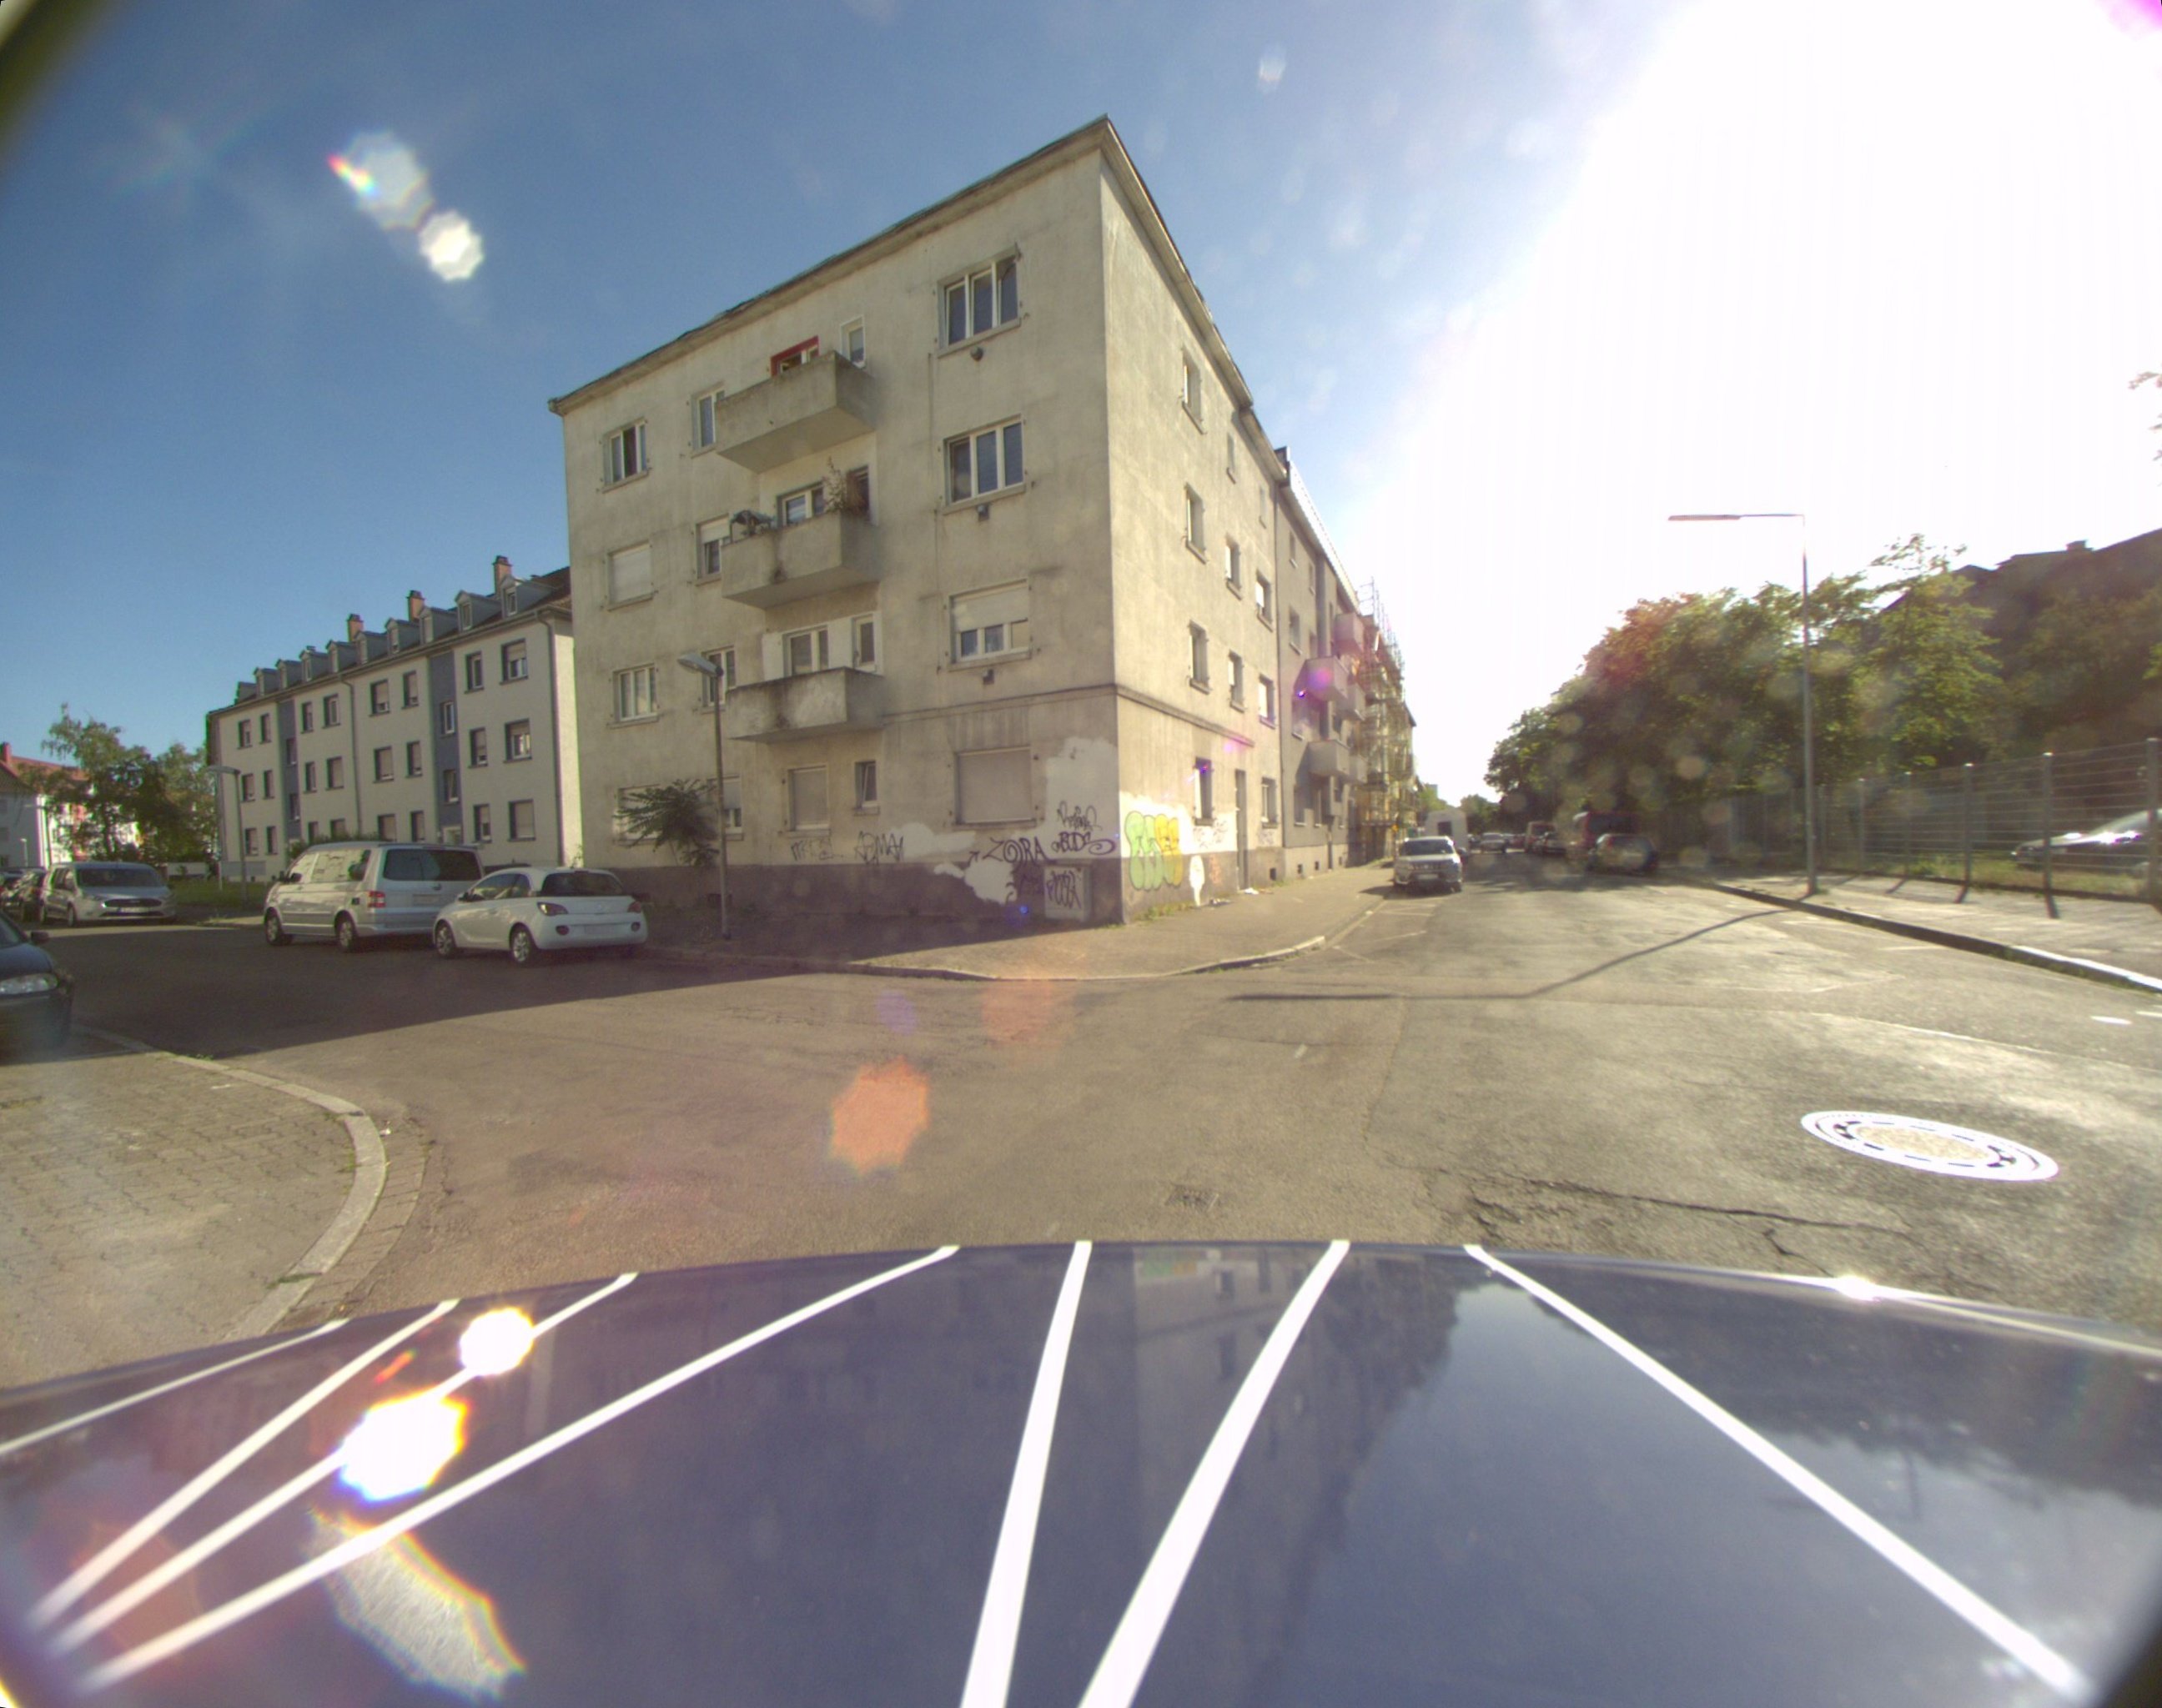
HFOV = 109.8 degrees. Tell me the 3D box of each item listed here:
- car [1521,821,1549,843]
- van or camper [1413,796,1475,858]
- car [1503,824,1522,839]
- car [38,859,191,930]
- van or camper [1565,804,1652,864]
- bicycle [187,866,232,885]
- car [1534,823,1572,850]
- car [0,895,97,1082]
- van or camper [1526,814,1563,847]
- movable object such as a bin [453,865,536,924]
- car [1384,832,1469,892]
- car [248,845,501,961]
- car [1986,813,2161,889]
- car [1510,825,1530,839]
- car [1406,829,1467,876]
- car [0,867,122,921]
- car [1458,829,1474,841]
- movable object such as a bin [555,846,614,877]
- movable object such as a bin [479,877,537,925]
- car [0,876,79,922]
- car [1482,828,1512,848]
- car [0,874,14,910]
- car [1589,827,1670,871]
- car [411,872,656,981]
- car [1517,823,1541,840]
[{"bbox_3d":[43.905,-2.095,73.551,1.995,2.002,4.006,-1,1,27],"label":"car"},{"bbox_3d":[20.392,-1.452,42.577,2.952,3.162,6.183,0,1,27],"label":"van or camper"},{"bbox_3d":[58.851,-3.085,103.685,1.995,2.002,4.006,-1,1,27],"label":"car"},{"bbox_3d":[-27.341,1.087,21.460,4.936,1.819,1.809,-1,-1,28],"label":"car"},{"bbox_3d":[22.277,-0.869,32.337,2.208,2.268,5.318,-2,1,26],"label":"van or camper"},{"bbox_3d":[-54.041,1.322,47.120,0.461,0.984,1.738,1,6,42],"label":"bicycle"},{"bbox_3d":[30.596,-1.153,49.329,1.648,1.674,4.006,-1,2,26],"label":"car"},{"bbox_3d":[-10.424,1.094,6.440,4.038,1.406,1.807,-1,-1,27],"label":"car"},{"bbox_3d":[36.780,-1.868,60.382,2.122,2.485,4.006,-1,2,26],"label":"van or camper"},{"bbox_3d":[-14.803,0.997,19.199,1.042,1.369,1.261,-1,3,27],"label":"movable object such as a bin"},{"bbox_3d":[10.227,0.192,22.422,2.066,1.544,4.006,-2,1,26],"label":"car"},{"bbox_3d":[-13.560,0.849,14.541,4.844,1.922,1.961,-1,0,27],"label":"car"},{"bbox_3d":[21.157,-0.093,14.856,3.990,1.412,2.003,-1,1,26],"label":"car"},{"bbox_3d":[55.593,-2.779,96.225,1.995,1.739,4.006,-1,1,27],"label":"car"},{"bbox_3d":[13.151,-0.085,28.101,1.873,1.544,4.006,-2,1,26],"label":"car"},{"bbox_3d":[-32.502,1.236,24.152,4.154,1.581,1.682,-1,-2,27],"label":"car"},{"bbox_3d":[48.591,-2.428,95.910,1.648,1.451,4.006,-1,1,26],"label":"car"},{"bbox_3d":[-16.156,0.232,24.738,1.201,0.994,1.135,0,1,28],"label":"movable object such as a bin"},{"bbox_3d":[-13.932,1.132,18.479,0.814,1.073,0.776,-1,3,27],"label":"movable object such as a bin"},{"bbox_3d":[-36.638,1.508,26.371,3.692,1.509,1.653,-1,-2,28],"label":"car"},{"bbox_3d":[33.360,-1.298,60.964,1.858,1.543,4.006,-1,1,26],"label":"car"},{"bbox_3d":[-45.777,1.554,31.132,4.384,1.450,1.910,-1,-1,29],"label":"car"},{"bbox_3d":[19.495,-0.221,27.146,1.649,1.409,4.006,-2,1,26],"label":"car"},{"bbox_3d":[-8.745,1.048,12.100,3.711,1.450,1.695,-1,0,28],"label":"car"},{"bbox_3d":[49.513,-2.523,83.977,1.995,1.773,4.006,-1,1,27],"label":"car"}]
